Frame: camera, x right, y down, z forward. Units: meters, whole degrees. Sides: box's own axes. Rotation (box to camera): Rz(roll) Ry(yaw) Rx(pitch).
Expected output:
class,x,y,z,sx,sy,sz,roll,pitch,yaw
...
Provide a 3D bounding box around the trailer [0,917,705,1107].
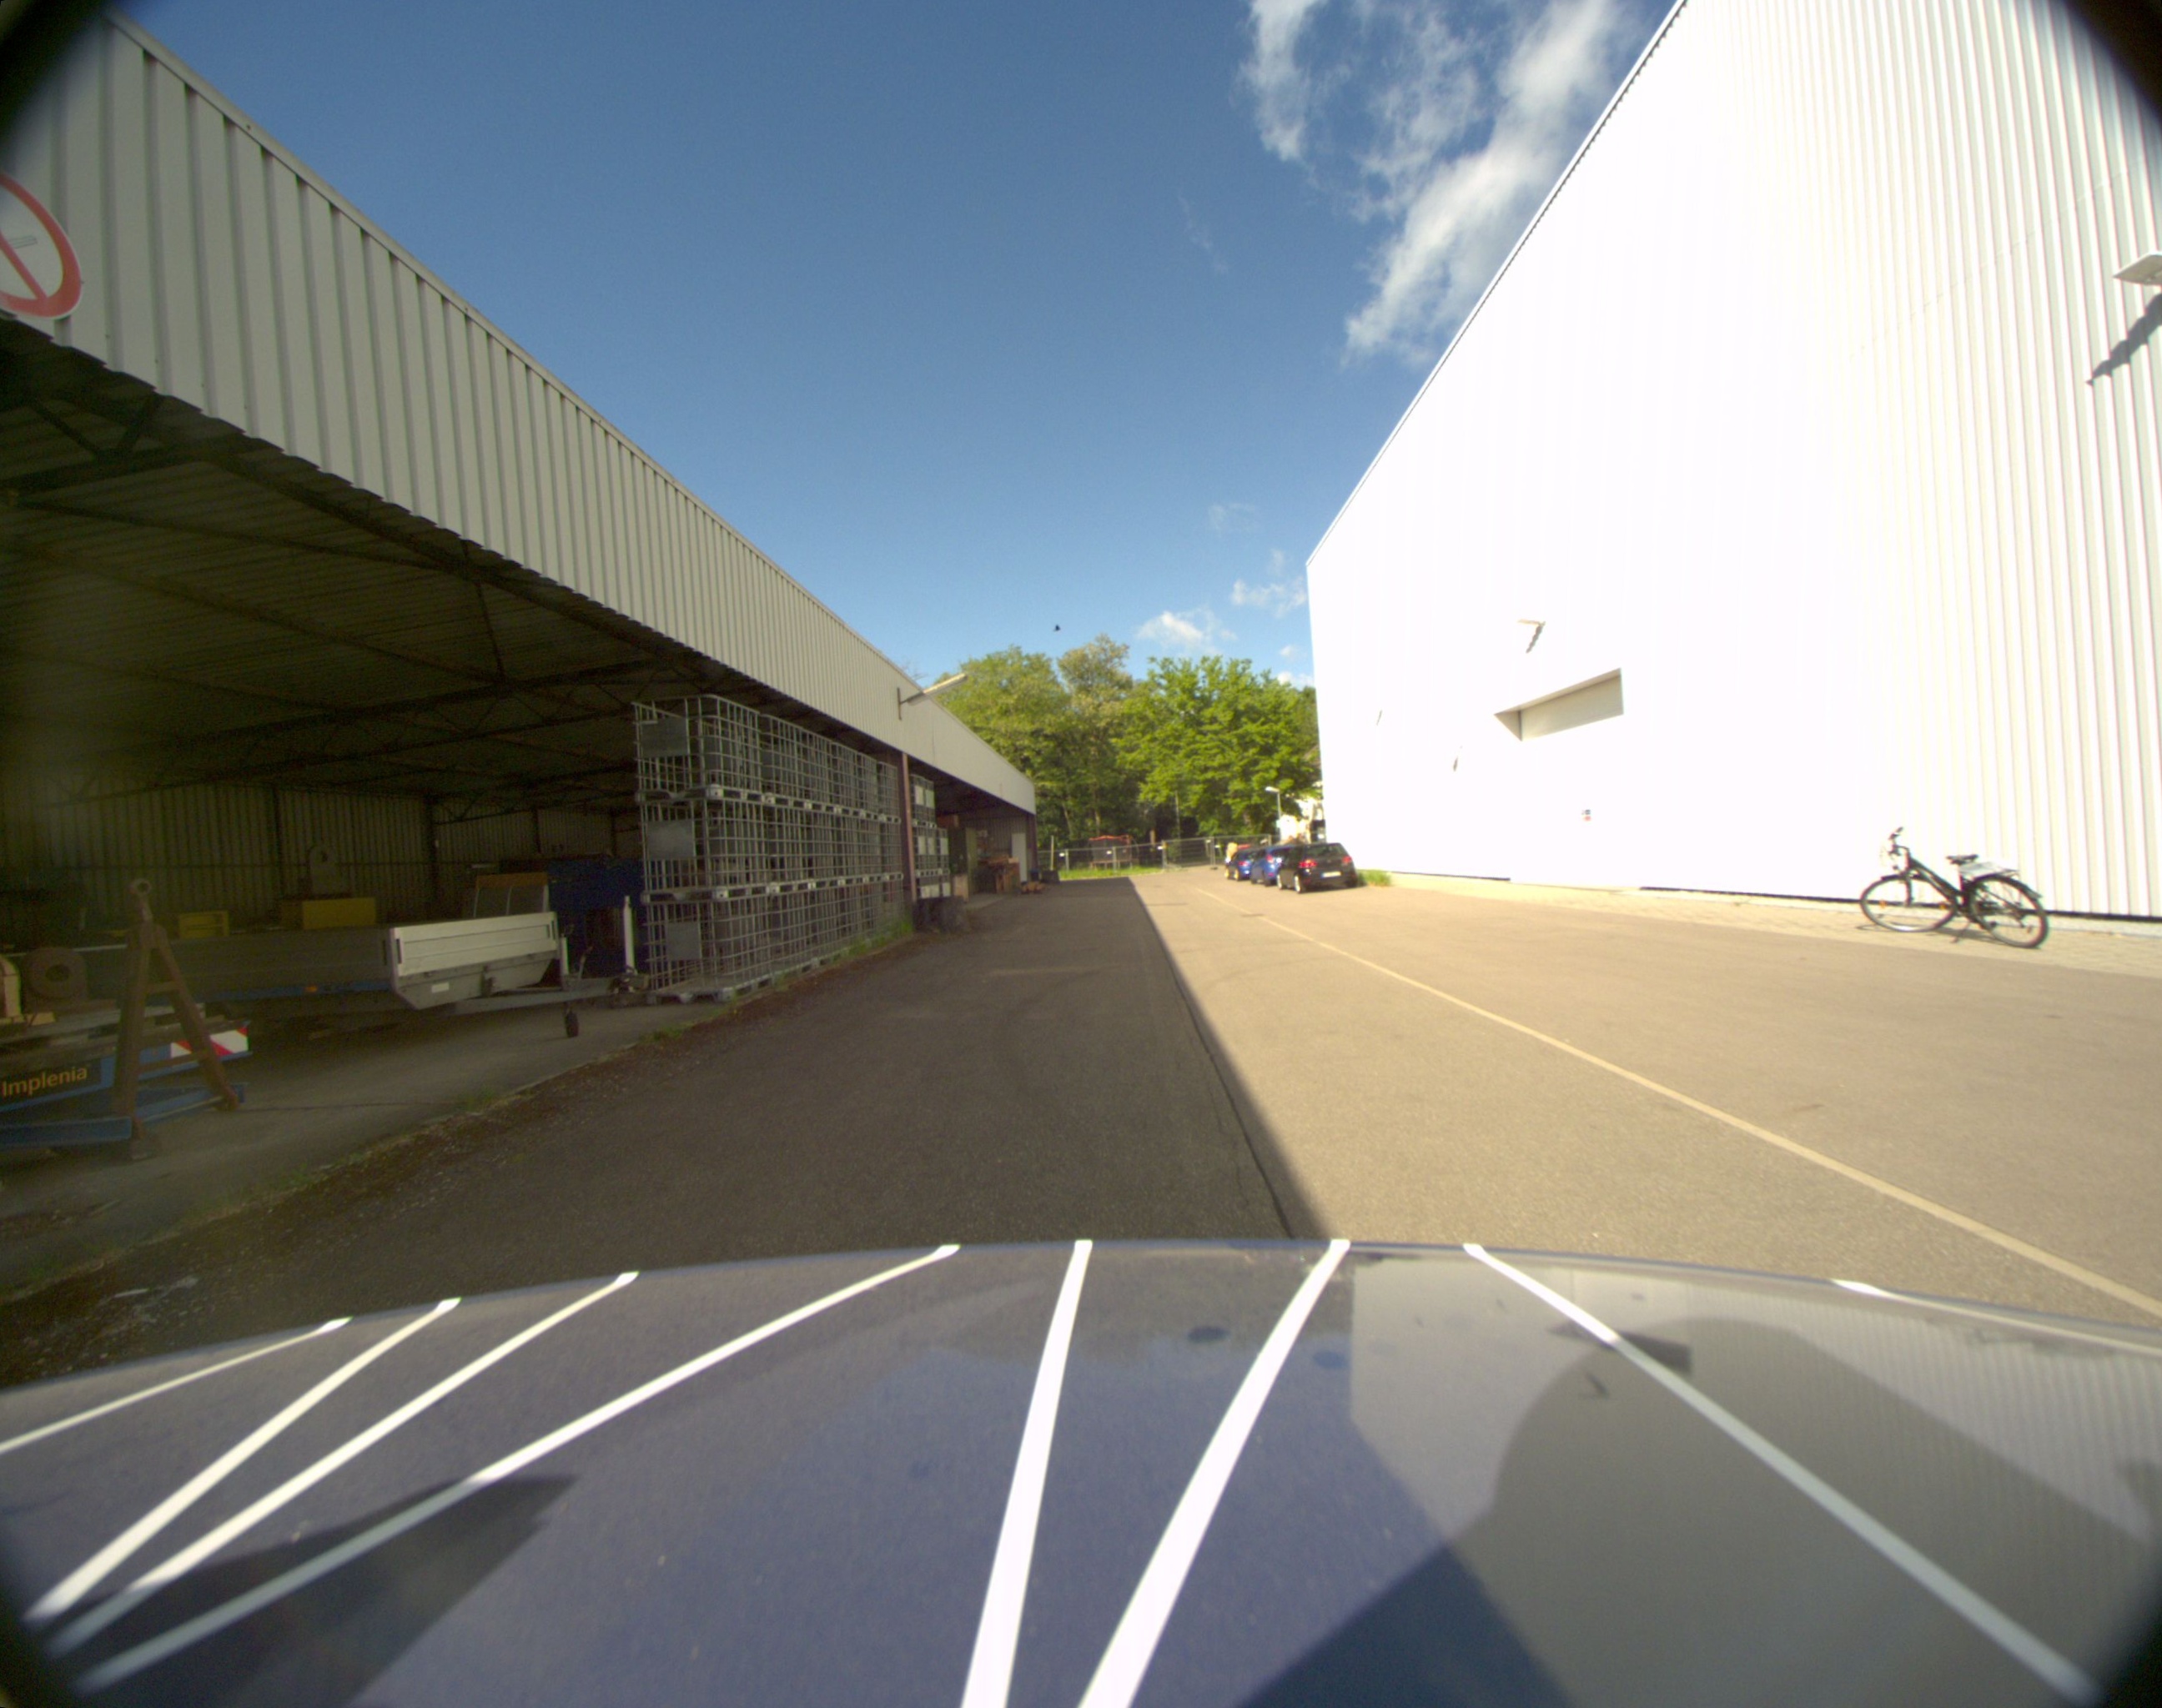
class,x,y,z,sx,sy,sz,roll,pitch,yaw
trailer,-6.908,1.367,7.008,5.836,1.113,2.029,-3,0,2

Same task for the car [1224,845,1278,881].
class,x,y,z,sx,sy,sz,roll,pitch,yaw
car,7.630,0.374,34.400,1.789,1.431,4.001,-3,0,4

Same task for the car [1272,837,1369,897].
class,x,y,z,sx,sy,sz,roll,pitch,yaw
car,7.323,0.358,23.650,1.895,1.513,4.001,-7,0,5

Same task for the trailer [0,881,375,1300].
class,x,y,z,sx,sy,sz,roll,pitch,yaw
trailer,-6.793,1.105,3.649,4.879,1.619,2.029,-3,0,2

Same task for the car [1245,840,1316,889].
class,x,y,z,sx,sy,sz,roll,pitch,yaw
car,7.480,0.356,28.899,1.789,1.513,4.001,-7,0,5

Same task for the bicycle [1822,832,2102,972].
class,x,y,z,sx,sy,sz,roll,pitch,yaw
bicycle,8.679,0.413,7.649,0.909,1.136,1.901,-7,0,18
